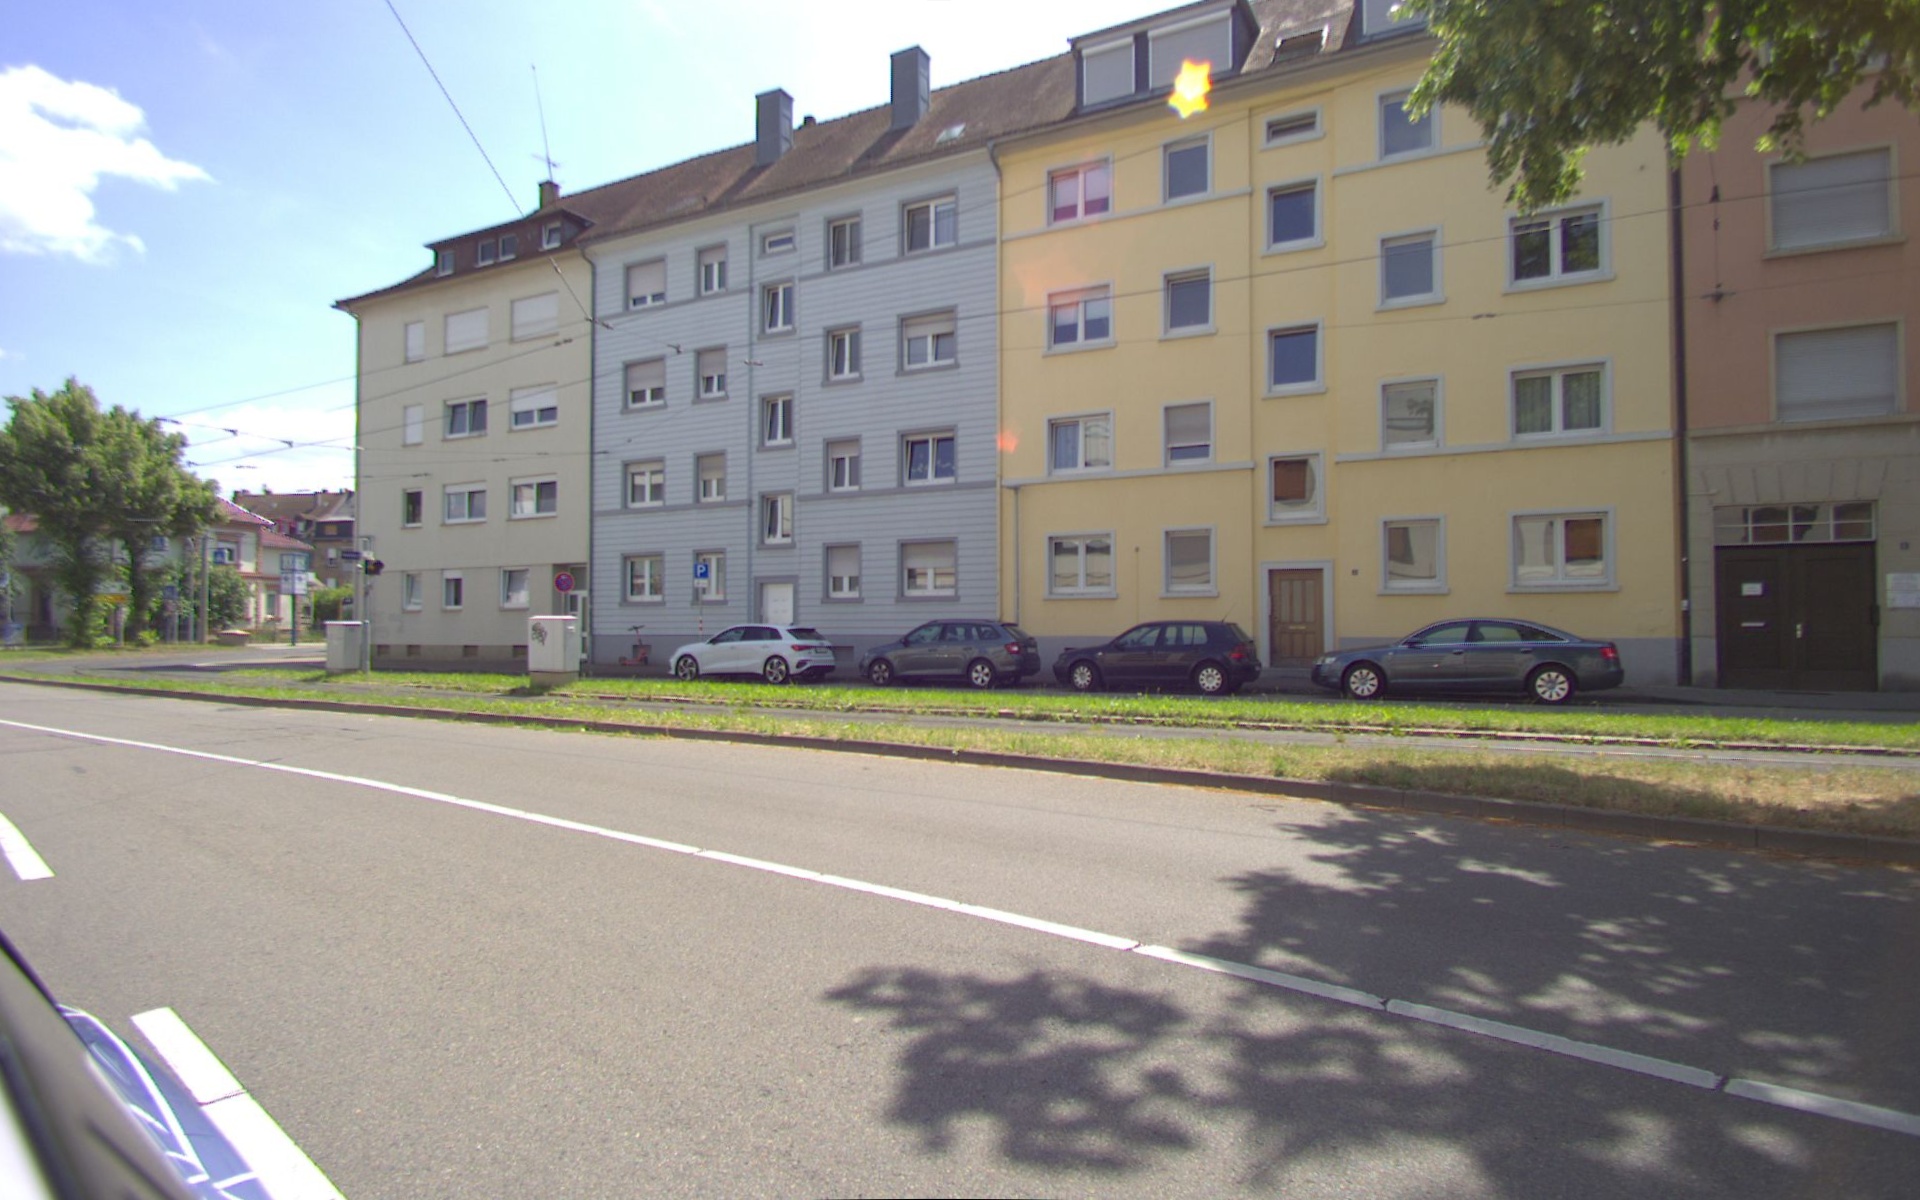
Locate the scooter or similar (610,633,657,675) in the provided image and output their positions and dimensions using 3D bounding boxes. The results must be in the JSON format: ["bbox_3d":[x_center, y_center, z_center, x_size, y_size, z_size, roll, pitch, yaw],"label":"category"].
[{"bbox_3d":[-9.990,1.632,30.940,1.314,1.232,0.634,-1,-1,27],"label":"scooter or similar"}]

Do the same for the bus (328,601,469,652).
[{"bbox_3d":[-39.728,1.956,72.242,2.678,3.322,10.825,-1,-2,9],"label":"bus"}]

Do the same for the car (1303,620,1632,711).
[{"bbox_3d":[8.648,1.108,17.592,4.841,1.408,1.915,-1,-4,29],"label":"car"}]

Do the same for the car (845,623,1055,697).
[{"bbox_3d":[-0.231,1.309,22.574,4.301,1.516,1.917,-1,-3,25],"label":"car"}]

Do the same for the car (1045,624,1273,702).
[{"bbox_3d":[3.931,1.226,20.135,4.122,1.411,1.819,-1,-3,28],"label":"car"}]

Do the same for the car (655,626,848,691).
[{"bbox_3d":[-5.093,1.429,24.754,4.351,1.462,1.917,-1,-4,25],"label":"car"}]
